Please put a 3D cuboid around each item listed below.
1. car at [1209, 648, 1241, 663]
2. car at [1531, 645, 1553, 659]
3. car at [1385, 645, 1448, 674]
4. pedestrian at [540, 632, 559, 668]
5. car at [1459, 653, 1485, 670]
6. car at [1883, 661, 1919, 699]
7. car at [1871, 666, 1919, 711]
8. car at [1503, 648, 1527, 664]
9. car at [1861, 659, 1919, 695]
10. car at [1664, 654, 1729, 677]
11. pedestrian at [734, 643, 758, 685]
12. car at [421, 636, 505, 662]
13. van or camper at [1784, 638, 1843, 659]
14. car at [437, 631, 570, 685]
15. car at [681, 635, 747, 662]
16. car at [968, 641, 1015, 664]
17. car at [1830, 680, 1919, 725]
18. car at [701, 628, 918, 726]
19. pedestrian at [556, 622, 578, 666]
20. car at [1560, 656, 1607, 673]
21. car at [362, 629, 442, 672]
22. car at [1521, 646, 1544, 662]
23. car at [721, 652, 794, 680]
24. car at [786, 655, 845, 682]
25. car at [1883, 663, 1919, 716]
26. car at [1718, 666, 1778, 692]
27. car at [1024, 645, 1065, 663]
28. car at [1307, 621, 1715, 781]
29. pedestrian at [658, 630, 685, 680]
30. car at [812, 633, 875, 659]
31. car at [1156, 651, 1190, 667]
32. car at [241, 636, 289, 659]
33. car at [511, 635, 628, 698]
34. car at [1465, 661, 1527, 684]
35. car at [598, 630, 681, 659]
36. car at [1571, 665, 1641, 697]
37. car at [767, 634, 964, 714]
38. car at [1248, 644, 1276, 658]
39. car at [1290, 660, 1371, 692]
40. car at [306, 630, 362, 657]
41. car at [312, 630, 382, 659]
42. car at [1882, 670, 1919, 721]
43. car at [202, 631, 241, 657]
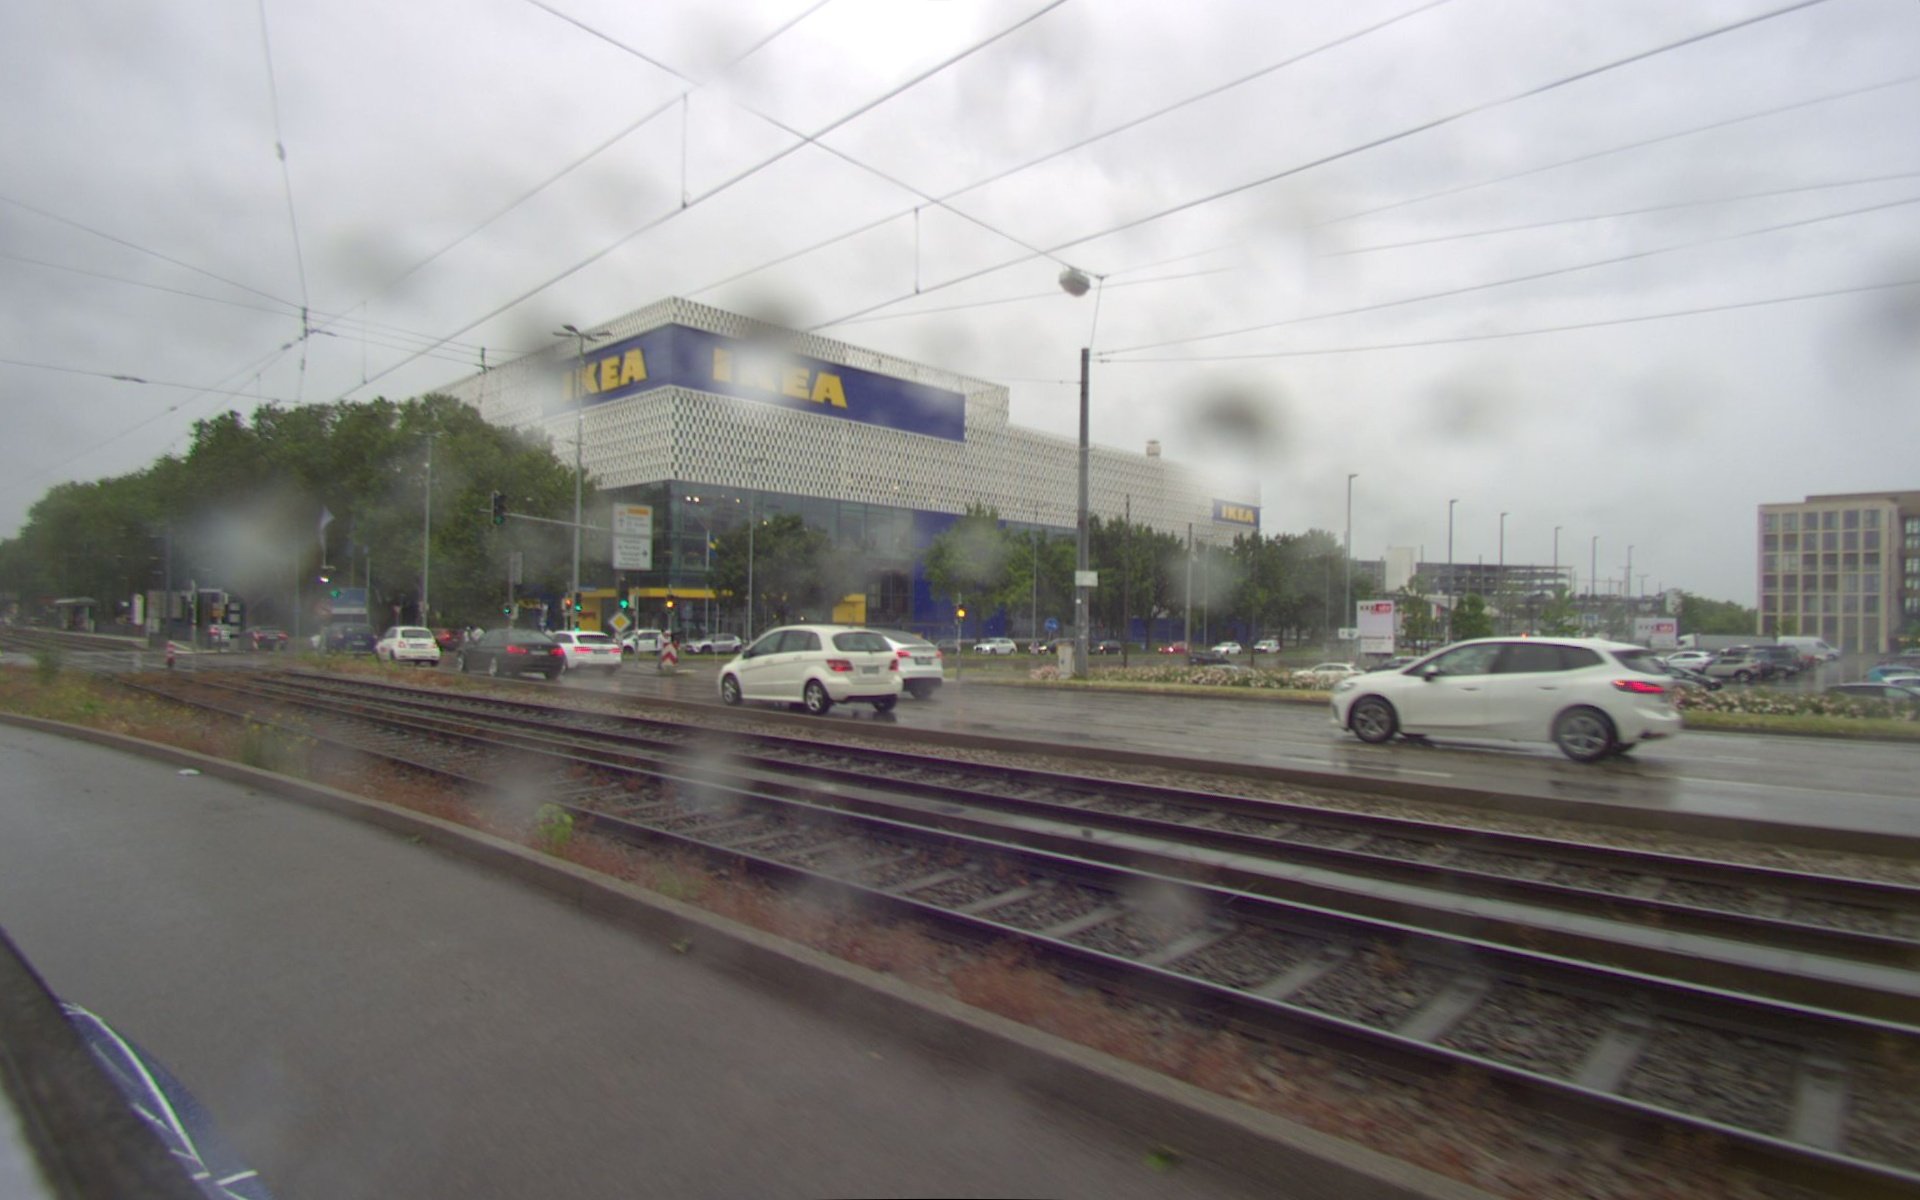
[{"bbox_3d":[30.253,6.340,115.582,4.105,1.417,1.711,-1,0,-44],"label":"car"},{"bbox_3d":[88.853,7.931,154.388,2.001,2.029,3.942,-1,0,44],"label":"car"},{"bbox_3d":[35.038,4.538,77.680,3.997,2.029,1.973,-1,0,40],"label":"car"},{"bbox_3d":[-23.773,2.882,58.557,0.772,2.029,0.859,0,0,-40],"label":"pedestrian"},{"bbox_3d":[68.987,8.264,136.299,2.001,2.029,3.942,-1,0,44],"label":"car"},{"bbox_3d":[55.638,4.608,57.969,3.998,2.029,1.973,-1,0,41],"label":"car"},{"bbox_3d":[47.860,4.379,50.082,3.998,2.029,1.973,-1,0,41],"label":"car"},{"bbox_3d":[79.655,8.018,145.254,2.001,2.029,3.942,-1,0,44],"label":"car"},{"bbox_3d":[58.232,4.740,62.352,3.998,2.029,1.973,-1,0,41],"label":"car"},{"bbox_3d":[58.320,5.167,80.175,4.008,1.573,1.739,-1,0,44],"label":"car"},{"bbox_3d":[-9.570,2.839,45.213,0.767,1.832,0.707,-1,0,36],"label":"pedestrian"},{"bbox_3d":[-34.680,3.399,70.630,4.999,1.579,1.996,-2,-1,7],"label":"car"},{"bbox_3d":[95.614,5.408,113.435,4.985,2.129,1.764,-1,0,38],"label":"van or camper"},{"bbox_3d":[-13.828,1.755,30.510,5.085,1.434,1.901,-3,-7,45],"label":"car"},{"bbox_3d":[-16.440,3.217,67.736,3.959,1.630,1.761,-1,0,-45],"label":"car"},{"bbox_3d":[2.720,4.483,86.668,3.955,1.686,1.683,-1,0,-44],"label":"car"},{"bbox_3d":[30.922,3.401,33.707,2.936,1.263,1.340,-1,0,40],"label":"car"},{"bbox_3d":[-2.957,1.394,19.231,4.330,1.585,1.852,-3,-1,45],"label":"car"},{"bbox_3d":[-21.042,2.345,54.158,0.906,2.261,0.992,-2,2,-33],"label":"pedestrian"},{"bbox_3d":[60.798,6.241,98.637,1.760,1.417,3.570,0,0,-43],"label":"car"},{"bbox_3d":[-21.654,1.934,39.217,1.692,1.547,4.050,-1,-1,-45],"label":"car"},{"bbox_3d":[84.713,7.970,149.848,2.001,2.029,3.942,-1,0,44],"label":"car"},{"bbox_3d":[-13.159,4.295,65.879,1.820,1.552,4.318,-3,-1,45],"label":"car"},{"bbox_3d":[-10.443,4.956,73.454,3.959,1.630,1.761,-1,0,-45],"label":"car"},{"bbox_3d":[41.330,3.779,42.288,3.998,2.029,1.973,-1,0,41],"label":"car"},{"bbox_3d":[53.976,5.384,69.308,3.166,1.535,1.551,-1,0,40],"label":"car"},{"bbox_3d":[7.651,4.888,91.348,3.768,1.417,1.603,-1,0,-44],"label":"car"},{"bbox_3d":[7.555,1.239,14.241,4.695,1.848,1.971,-1,-2,45],"label":"car"},{"bbox_3d":[-11.915,2.268,41.842,0.856,2.029,0.688,-1,0,36],"label":"pedestrian"},{"bbox_3d":[-8.212,3.214,71.395,2.001,1.615,4.050,-1,0,44],"label":"car"},{"bbox_3d":[22.585,6.265,107.435,3.927,1.417,1.603,-1,0,-44],"label":"car"},{"bbox_3d":[-41.633,2.834,60.628,1.692,1.259,4.050,-1,-1,-44],"label":"car"},{"bbox_3d":[-13.685,2.258,35.302,4.792,1.916,1.971,-1,0,44],"label":"car"},{"bbox_3d":[41.860,5.658,79.003,4.038,1.536,1.694,-1,0,39],"label":"car"},{"bbox_3d":[-19.030,2.630,60.193,1.820,1.552,4.398,-3,-2,45],"label":"car"},{"bbox_3d":[44.355,5.530,69.513,3.829,1.919,1.800,-1,0,39],"label":"car"},{"bbox_3d":[-2.345,1.692,24.150,4.841,1.618,1.887,-2,0,43],"label":"car"},{"bbox_3d":[36.124,6.058,121.030,3.768,1.417,1.603,-1,0,-44],"label":"car"},{"bbox_3d":[21.362,4.360,58.452,3.998,1.616,1.781,-1,0,41],"label":"car"},{"bbox_3d":[-37.525,2.609,60.602,1.791,1.447,4.715,-1,-1,-45],"label":"car"},{"bbox_3d":[-28.494,2.063,46.997,4.463,1.259,1.693,-3,-1,44],"label":"car"},{"bbox_3d":[42.802,4.186,43.929,3.998,2.029,1.973,-1,0,41],"label":"car"},{"bbox_3d":[-51.727,3.091,70.835,1.692,1.721,4.433,-1,-1,-43],"label":"car"}]
